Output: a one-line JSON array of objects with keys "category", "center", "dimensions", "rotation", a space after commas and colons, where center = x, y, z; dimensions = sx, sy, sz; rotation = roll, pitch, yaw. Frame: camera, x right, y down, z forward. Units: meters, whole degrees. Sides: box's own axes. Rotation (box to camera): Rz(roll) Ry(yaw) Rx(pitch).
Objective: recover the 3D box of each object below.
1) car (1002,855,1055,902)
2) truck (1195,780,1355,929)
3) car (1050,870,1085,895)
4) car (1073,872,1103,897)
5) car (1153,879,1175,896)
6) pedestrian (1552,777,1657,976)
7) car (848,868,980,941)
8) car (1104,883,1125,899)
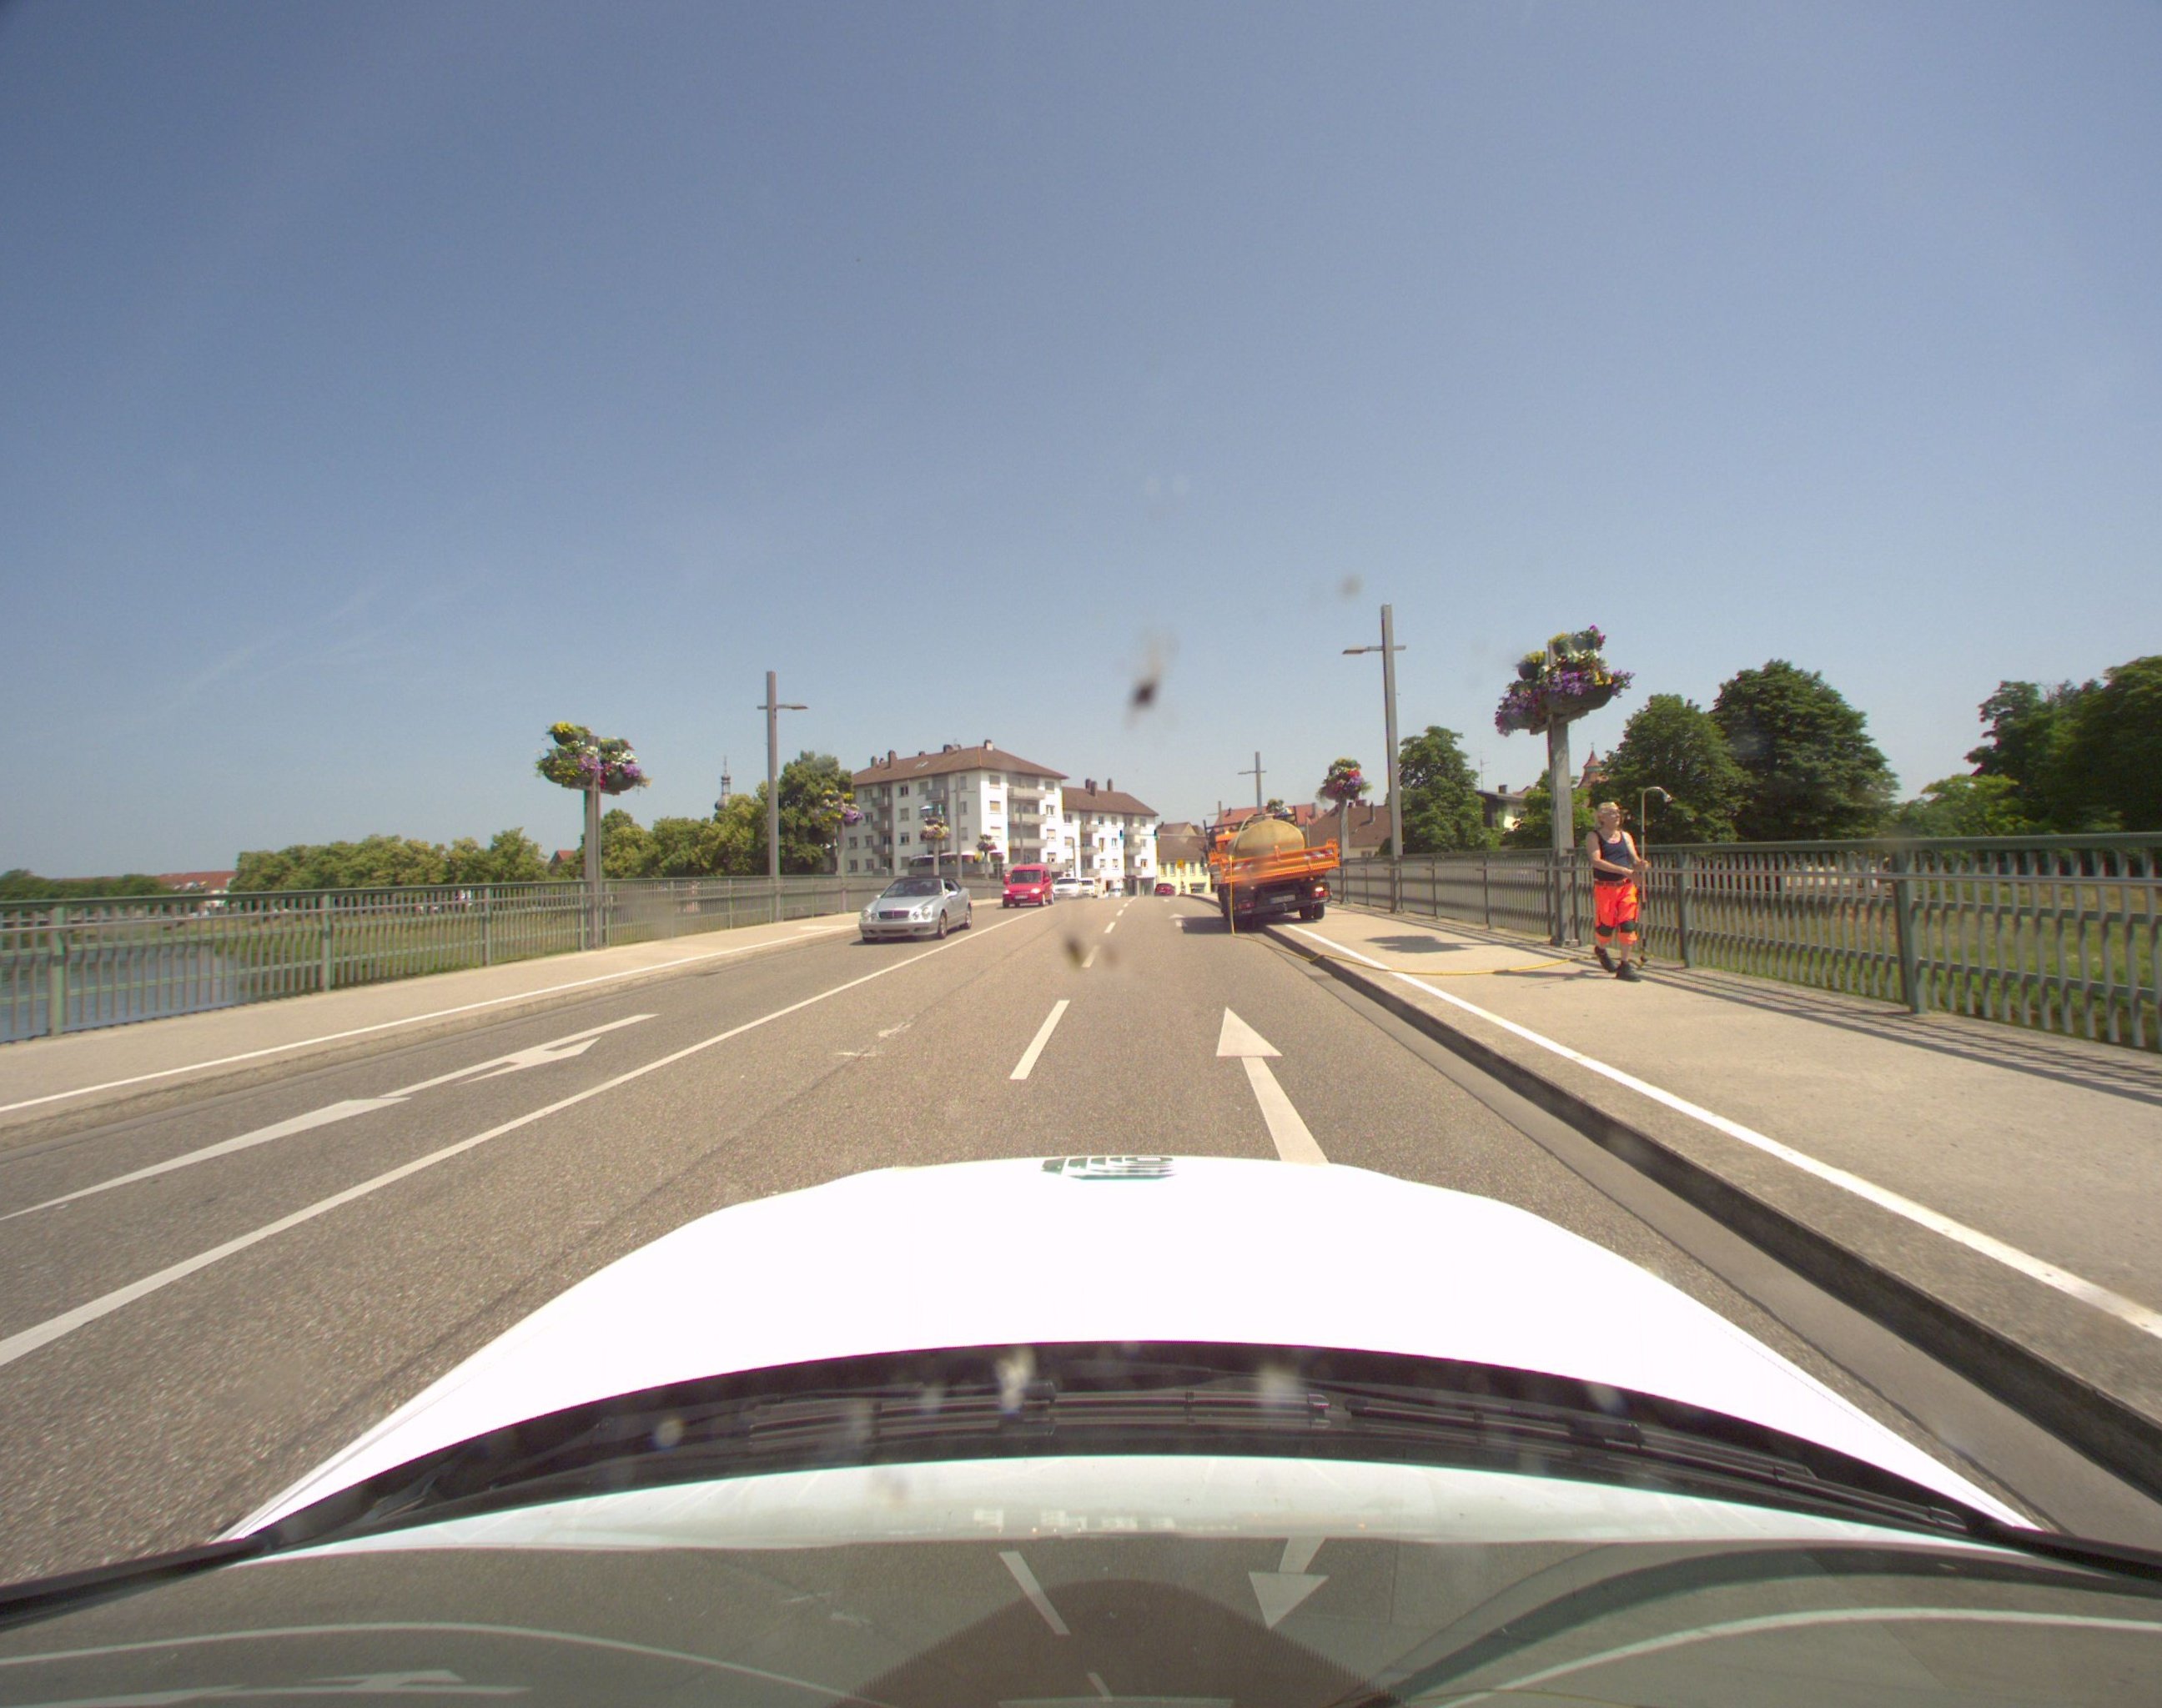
[{"category": "car", "center": [-2.092, 1.019, 33.564], "dimensions": [1.729, 1.777, 4.178], "rotation": [-2, -2, 2]}, {"category": "truck", "center": [4.221, 0.072, 19.000], "dimensions": [2.594, 2.691, 5.830], "rotation": [-6, -2, 5]}, {"category": "car", "center": [-0.795, 1.802, 51.748], "dimensions": [1.836, 1.432, 4.717], "rotation": [-2, -2, 3]}, {"category": "car", "center": [0.625, 2.667, 70.080], "dimensions": [1.749, 1.857, 4.655], "rotation": [-7, -4, 8]}, {"category": "car", "center": [8.458, 3.405, 83.607], "dimensions": [1.982, 1.613, 4.345], "rotation": [-2, -2, 3]}, {"category": "pedestrian", "center": [5.398, 0.231, 8.412], "dimensions": [0.551, 1.960, 0.665], "rotation": [0, -3, -35]}, {"category": "car", "center": [-3.634, 1.061, 18.589], "dimensions": [1.690, 1.358, 4.462], "rotation": [-3, -1, 5]}, {"category": "car", "center": [3.634, 4.001, 88.620], "dimensions": [1.750, 1.519, 4.009], "rotation": [-4, -3, 9]}]
